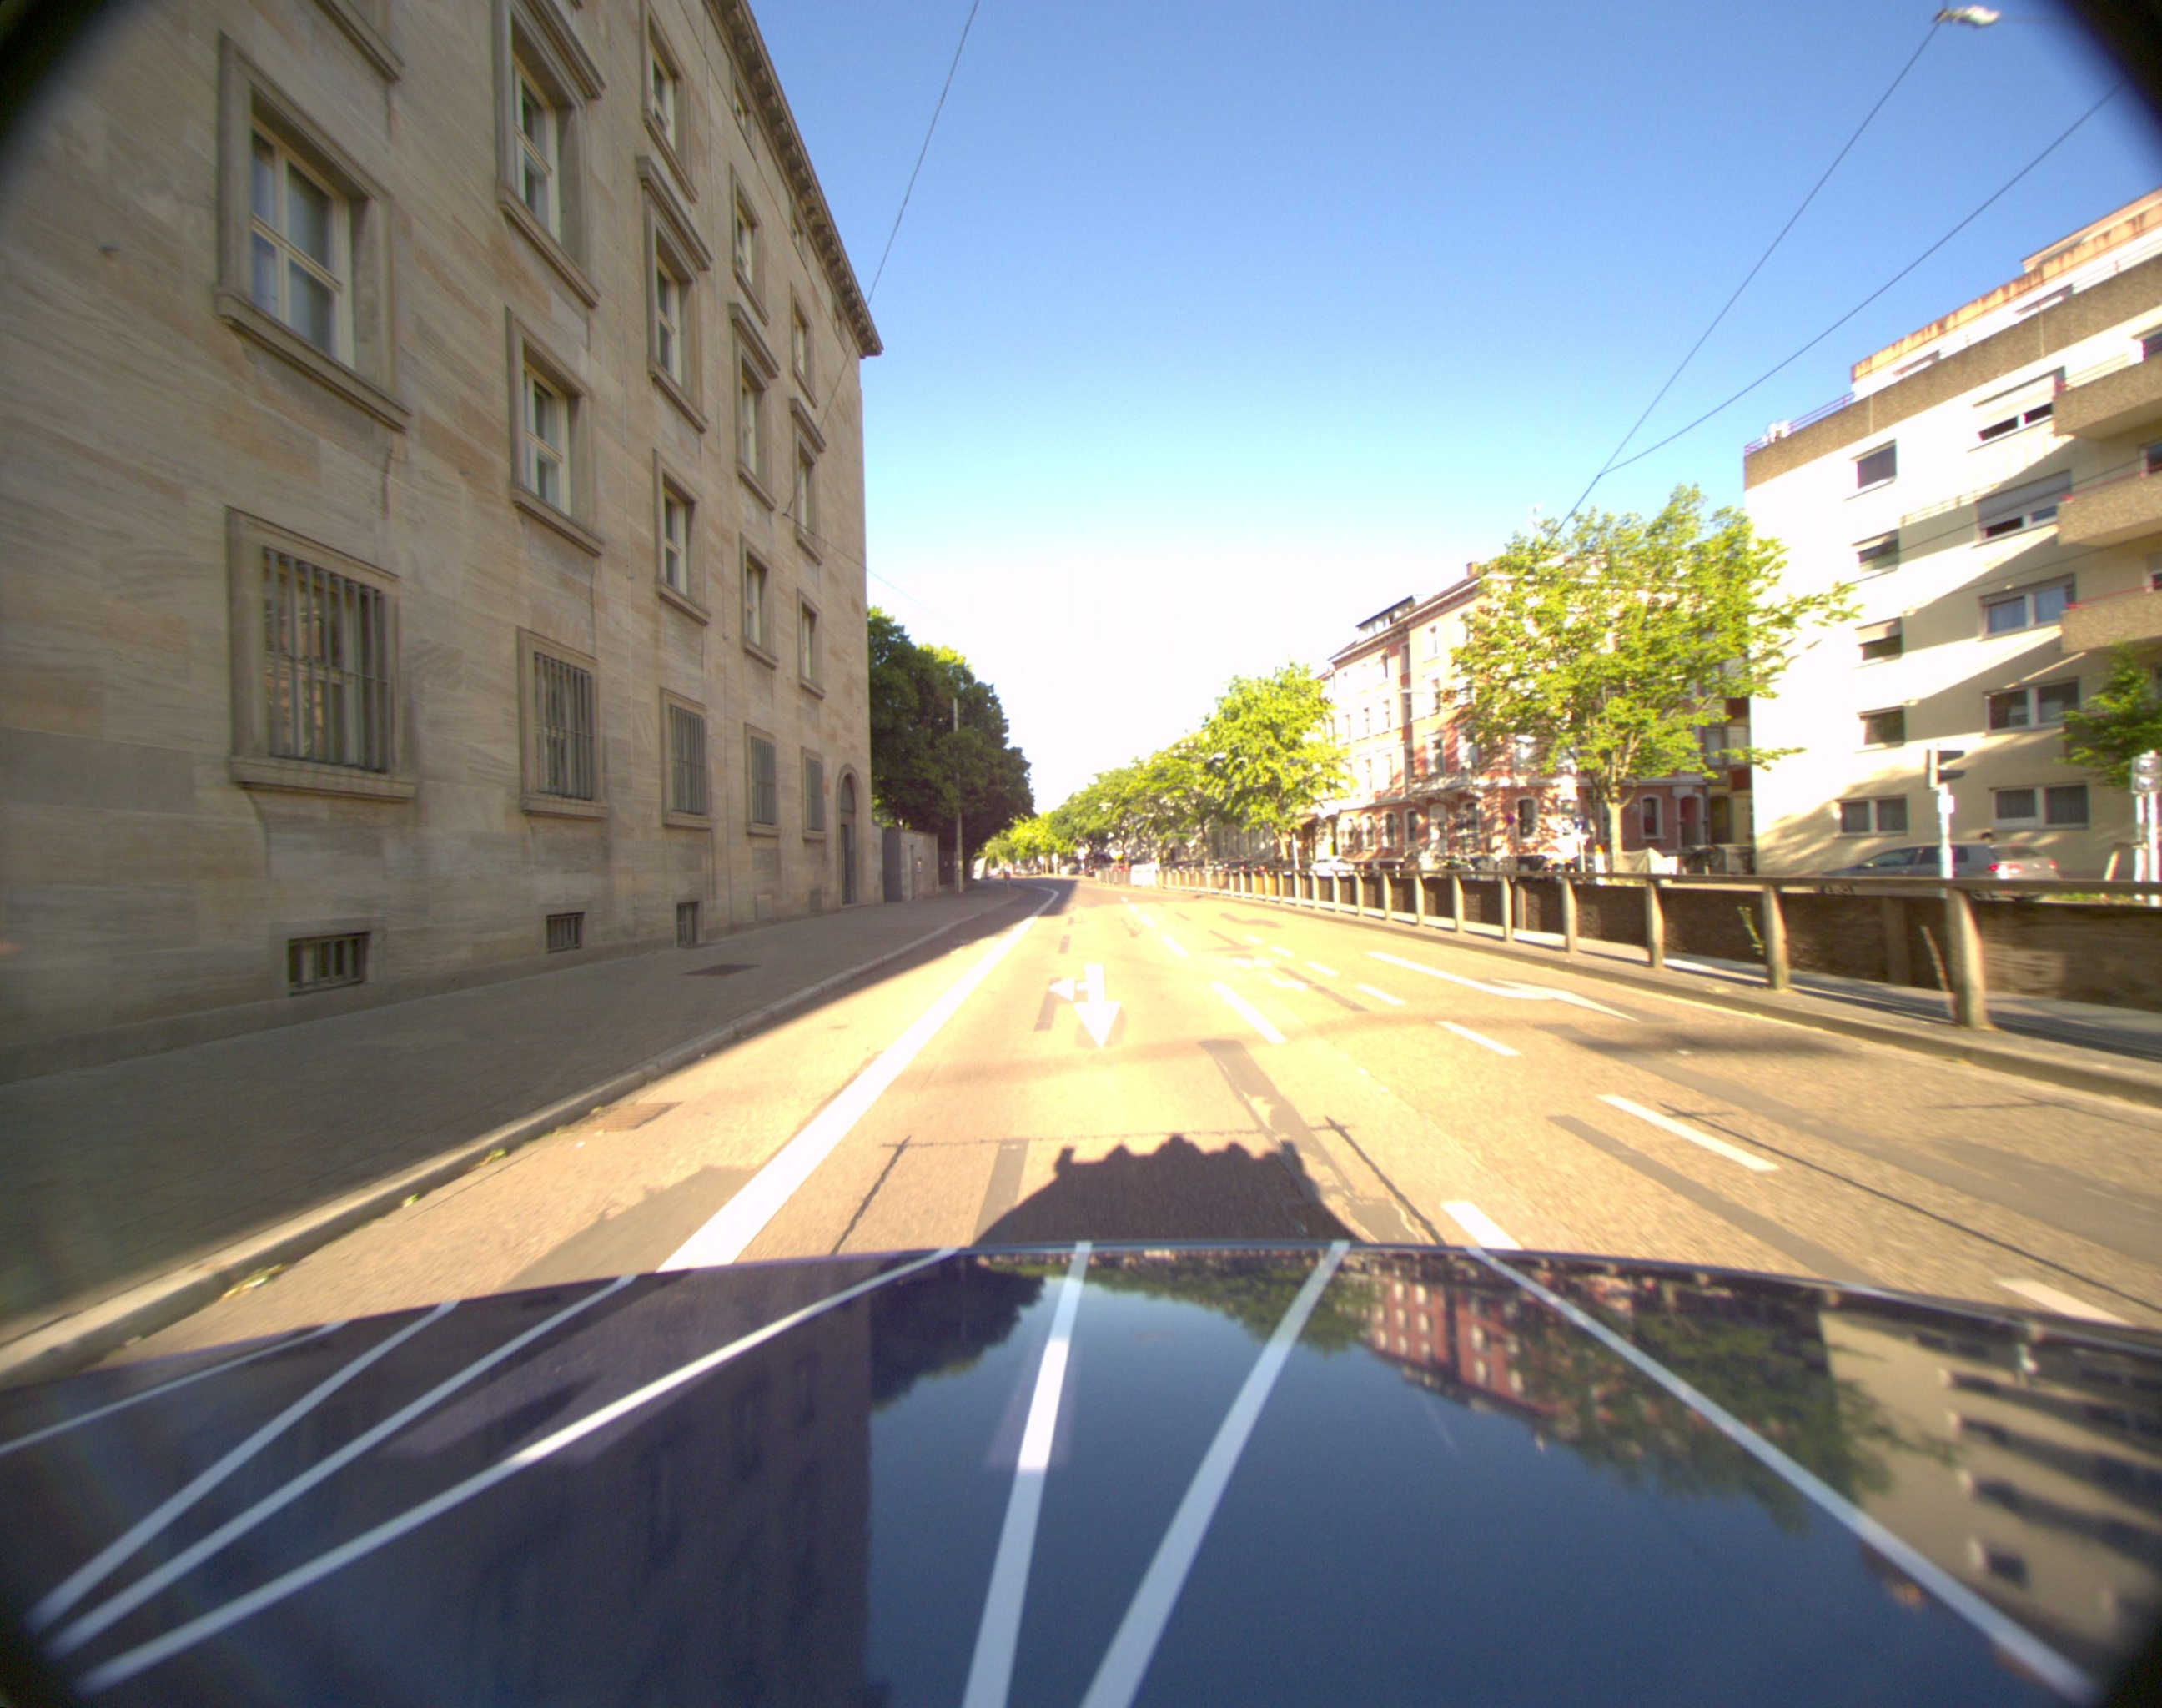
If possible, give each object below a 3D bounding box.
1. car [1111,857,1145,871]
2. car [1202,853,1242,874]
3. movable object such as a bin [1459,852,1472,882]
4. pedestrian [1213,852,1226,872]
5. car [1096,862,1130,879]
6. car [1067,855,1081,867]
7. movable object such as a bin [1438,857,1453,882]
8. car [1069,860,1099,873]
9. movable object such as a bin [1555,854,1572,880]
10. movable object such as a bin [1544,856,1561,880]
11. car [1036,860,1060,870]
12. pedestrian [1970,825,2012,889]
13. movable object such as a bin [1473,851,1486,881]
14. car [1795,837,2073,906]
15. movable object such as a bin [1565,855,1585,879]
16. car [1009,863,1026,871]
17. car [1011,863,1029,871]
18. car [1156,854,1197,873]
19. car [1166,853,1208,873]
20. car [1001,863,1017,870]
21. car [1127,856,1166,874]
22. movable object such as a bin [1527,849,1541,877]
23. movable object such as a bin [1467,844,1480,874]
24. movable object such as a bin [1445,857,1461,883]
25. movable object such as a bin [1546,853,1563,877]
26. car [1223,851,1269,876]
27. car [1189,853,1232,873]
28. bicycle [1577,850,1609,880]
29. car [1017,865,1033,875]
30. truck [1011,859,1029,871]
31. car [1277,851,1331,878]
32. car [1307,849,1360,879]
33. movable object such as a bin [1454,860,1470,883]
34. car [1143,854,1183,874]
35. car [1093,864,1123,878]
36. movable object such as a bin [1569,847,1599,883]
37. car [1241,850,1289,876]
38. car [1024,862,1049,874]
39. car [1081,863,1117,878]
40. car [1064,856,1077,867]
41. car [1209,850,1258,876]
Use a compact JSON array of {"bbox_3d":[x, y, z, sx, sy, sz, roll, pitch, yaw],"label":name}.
[{"bbox_3d":[5.798,1.223,93.681,4.208,1.549,1.636,-4,1,-41],"label":"car"},{"bbox_3d":[12.077,0.793,65.059,3.286,1.524,1.703,-6,2,-44],"label":"car"},{"bbox_3d":[18.437,0.614,36.442,0.380,1.418,0.387,-2,0,0],"label":"movable object such as a bin"},{"bbox_3d":[12.361,0.696,67.981,0.767,1.745,0.806,-2,0,-23],"label":"pedestrian"},{"bbox_3d":[4.013,2.063,95.668,4.208,1.714,1.780,-5,2,-45],"label":"car"},{"bbox_3d":[-1.169,1.234,126.331,1.673,1.886,3.211,-2,0,-13],"label":"car"},{"bbox_3d":[17.834,0.754,37.163,0.380,1.196,0.639,-2,0,0],"label":"movable object such as a bin"},{"bbox_3d":[0.438,1.778,105.310,4.007,1.477,1.777,-4,1,-44],"label":"car"},{"bbox_3d":[21.124,0.573,33.281,0.380,1.090,0.552,-2,2,-6],"label":"movable object such as a bin"},{"bbox_3d":[22.168,0.667,35.746,0.380,1.092,0.552,-2,0,-6],"label":"movable object such as a bin"},{"bbox_3d":[-6.265,2.026,142.240,4.105,1.561,1.670,-5,1,-18],"label":"car"},{"bbox_3d":[24.251,0.076,20.260,0.512,1.661,0.490,-2,0,-7],"label":"pedestrian"},{"bbox_3d":[18.615,0.563,35.514,0.380,1.418,0.387,-2,0,0],"label":"movable object such as a bin"},{"bbox_3d":[20.675,0.403,18.738,1.711,1.402,4.289,-4,0,-8],"label":"car"},{"bbox_3d":[21.612,0.571,33.249,0.448,1.028,0.552,-2,2,-6],"label":"movable object such as a bin"},{"bbox_3d":[-15.238,3.059,181.794,3.775,1.584,1.670,-5,1,-18],"label":"car"},{"bbox_3d":[-14.249,3.038,178.024,3.775,1.584,1.670,-5,1,-18],"label":"car"},{"bbox_3d":[9.411,0.959,74.786,3.877,1.645,1.768,-4,1,-41],"label":"car"},{"bbox_3d":[9.980,0.860,71.385,3.877,1.645,1.768,-4,1,-41],"label":"car"},{"bbox_3d":[-18.703,3.166,197.782,3.775,1.584,1.670,-5,1,-18],"label":"car"},{"bbox_3d":[7.261,1.216,83.925,4.208,1.627,1.739,-5,0,-41],"label":"car"},{"bbox_3d":[21.317,0.404,35.719,0.380,1.304,0.387,-2,0,-7],"label":"movable object such as a bin"},{"bbox_3d":[18.580,0.230,35.985,0.380,1.418,0.386,-2,0,0],"label":"movable object such as a bin"},{"bbox_3d":[17.862,0.755,36.494,0.380,1.234,0.639,-2,0,0],"label":"movable object such as a bin"},{"bbox_3d":[21.809,0.504,34.966,0.380,1.090,0.552,-2,0,-6],"label":"movable object such as a bin"},{"bbox_3d":[12.743,0.726,58.588,1.631,1.607,3.993,-3,1,42],"label":"car"},{"bbox_3d":[11.526,0.777,67.507,3.828,1.477,1.766,-5,2,-41],"label":"car"},{"bbox_3d":[19.984,0.425,29.701,0.264,1.110,1.405,-2,0,0],"label":"bicycle"},{"bbox_3d":[-9.544,2.737,129.044,1.878,1.591,4.421,-2,-1,-17],"label":"car"},{"bbox_3d":[-14.144,2.544,175.224,3.774,2.409,1.671,-5,1,-13],"label":"truck"},{"bbox_3d":[15.059,0.709,51.147,3.929,1.499,1.685,-5,1,-44],"label":"car"},{"bbox_3d":[16.045,0.623,48.118,1.731,1.513,3.923,-4,1,41],"label":"car"},{"bbox_3d":[17.855,0.802,35.628,0.380,1.062,0.639,-2,0,0],"label":"movable object such as a bin"},{"bbox_3d":[8.734,1.041,81.159,4.208,1.788,1.781,-5,2,-41],"label":"car"},{"bbox_3d":[3.561,2.269,98.990,1.744,1.511,3.772,-3,2,44],"label":"car"},{"bbox_3d":[21.295,0.460,32.180,0.427,1.450,1.146,-2,2,-6],"label":"movable object such as a bin"},{"bbox_3d":[13.591,0.678,55.885,1.631,1.607,3.993,-4,1,42],"label":"car"},{"bbox_3d":[-8.615,2.685,146.266,4.311,1.940,1.670,-5,1,-18],"label":"car"},{"bbox_3d":[2.430,2.223,101.353,4.366,1.704,1.944,-5,1,-36],"label":"car"},{"bbox_3d":[-1.818,1.306,129.876,1.673,1.886,3.211,-2,0,-13],"label":"car"},{"bbox_3d":[12.456,0.712,62.053,4.293,1.713,1.703,-6,3,-44],"label":"car"}]
